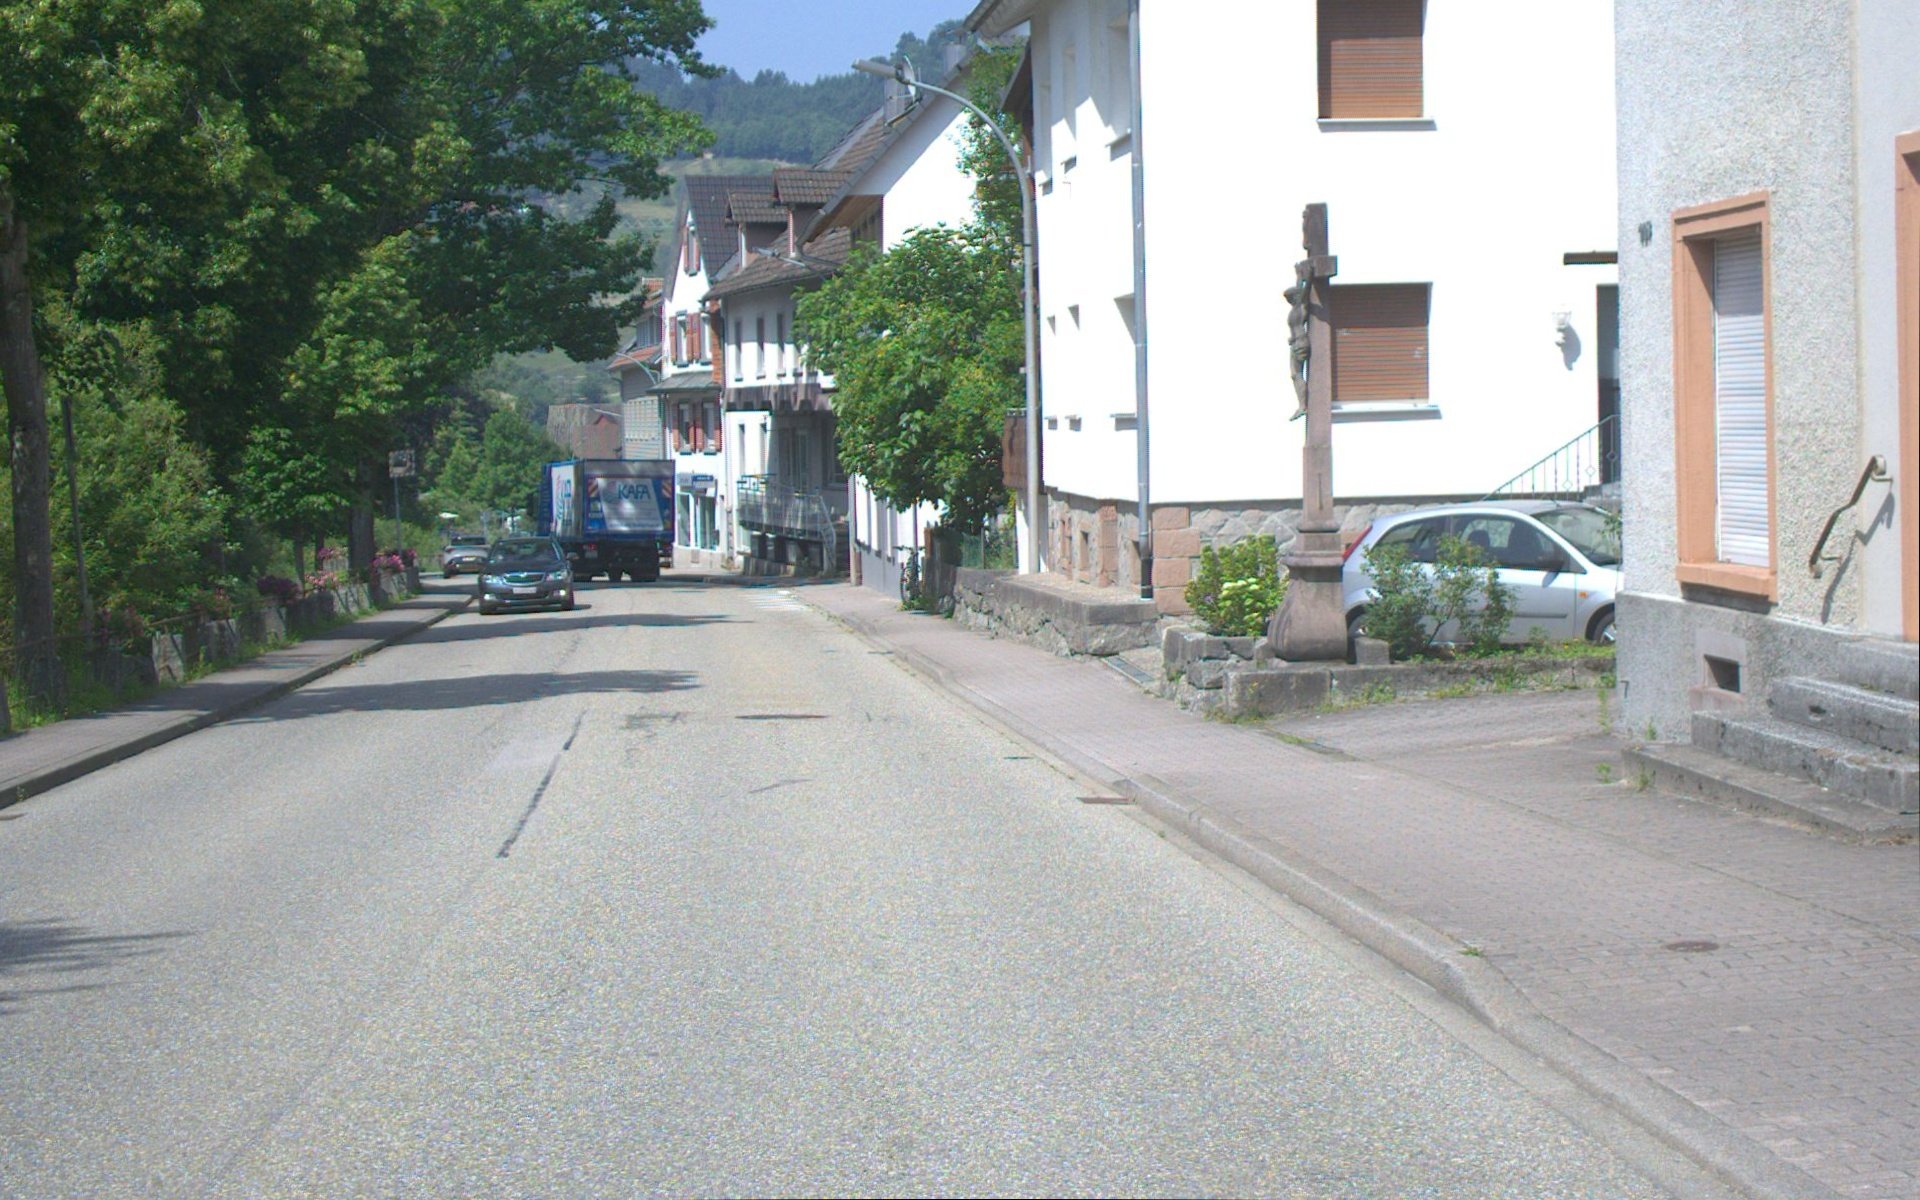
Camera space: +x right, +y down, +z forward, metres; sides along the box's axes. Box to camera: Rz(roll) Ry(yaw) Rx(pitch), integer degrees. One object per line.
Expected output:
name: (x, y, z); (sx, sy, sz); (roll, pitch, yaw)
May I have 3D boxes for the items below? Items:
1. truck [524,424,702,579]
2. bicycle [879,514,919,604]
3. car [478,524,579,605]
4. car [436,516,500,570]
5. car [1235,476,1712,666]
truck: (-9.953, -2.713, 97.687); (3.362, 3.769, 8.442); (-5, 0, -15)
bicycle: (-0.995, -0.676, 55.710); (0.425, 1.391, 2.277); (-5, 2, -4)
car: (-8.255, -0.695, 66.007); (1.666, 1.413, 4.087); (-3, 1, -4)
car: (-18.332, -2.113, 127.957); (1.773, 1.728, 4.001); (-5, 0, -15)
car: (4.442, -0.236, 30.041); (3.773, 1.422, 1.606); (-3, 2, 41)
